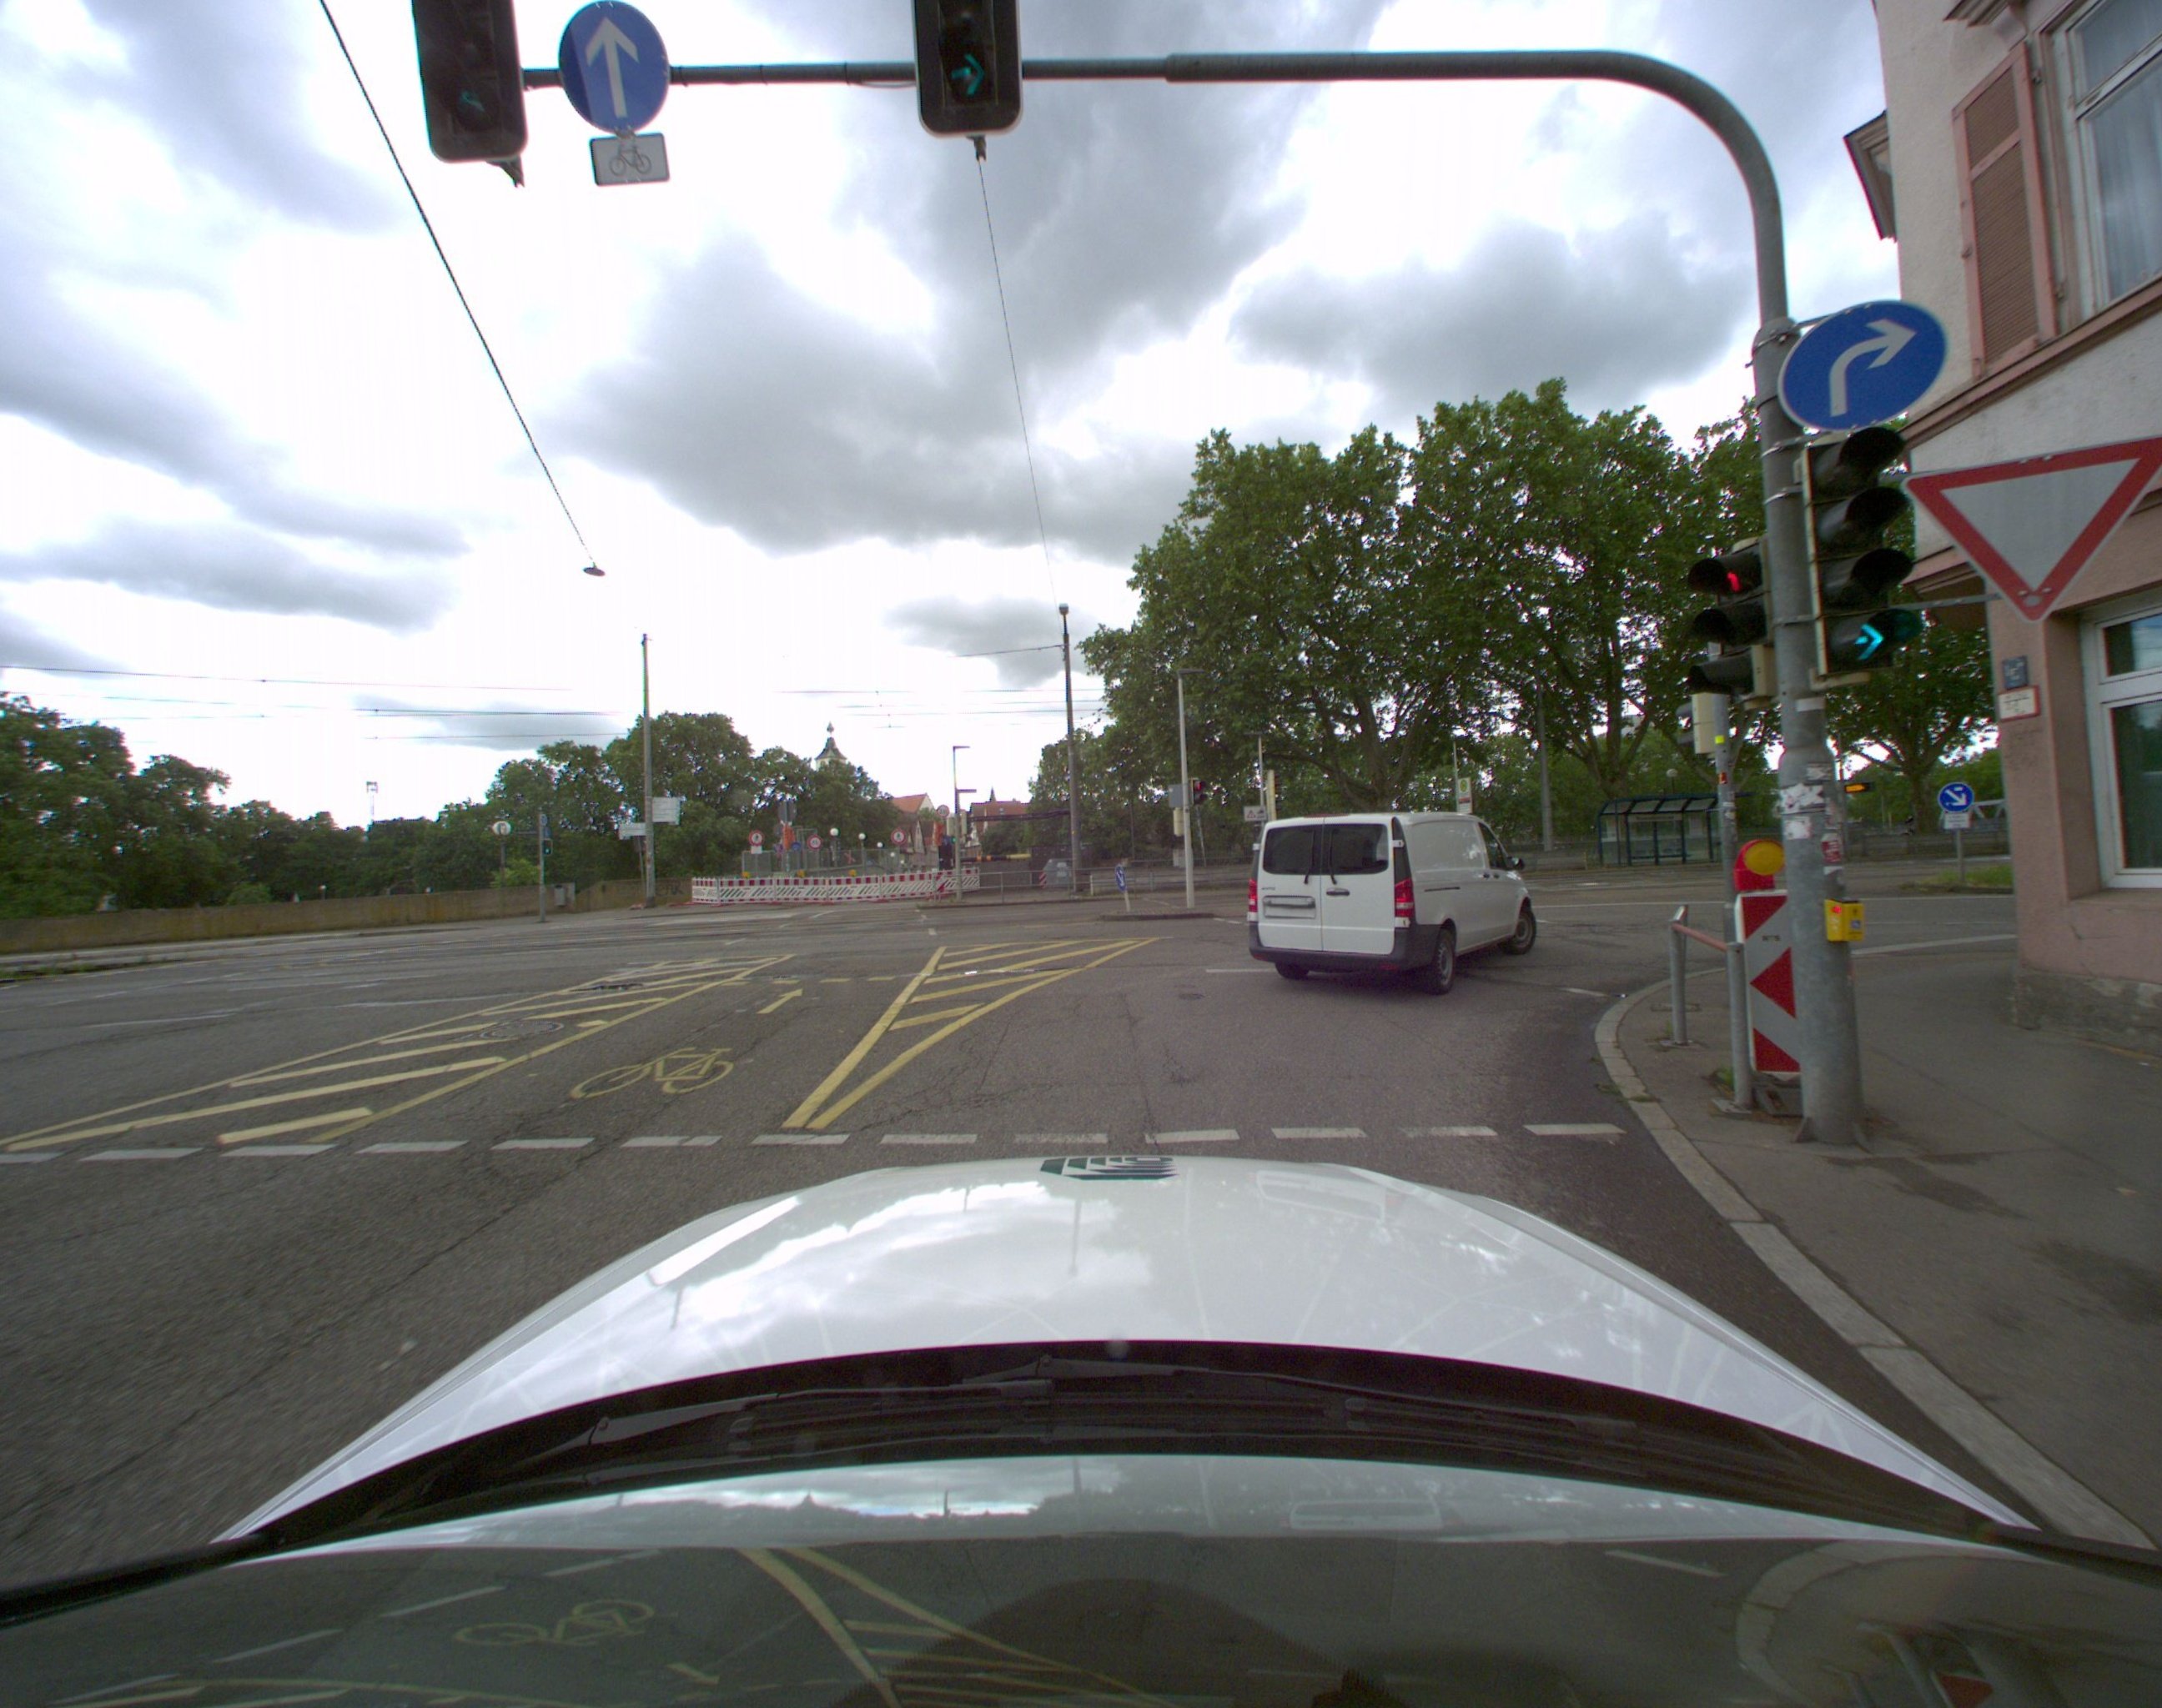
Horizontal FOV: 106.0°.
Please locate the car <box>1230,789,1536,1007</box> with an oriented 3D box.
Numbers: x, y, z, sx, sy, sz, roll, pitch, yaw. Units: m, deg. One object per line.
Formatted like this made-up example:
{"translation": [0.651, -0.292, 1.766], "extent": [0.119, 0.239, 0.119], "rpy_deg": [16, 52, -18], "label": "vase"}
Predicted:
{"translation": [3.908, 0.389, 9.960], "extent": [1.932, 2.013, 4.727], "rpy_deg": [-1, 0, 41], "label": "car"}
